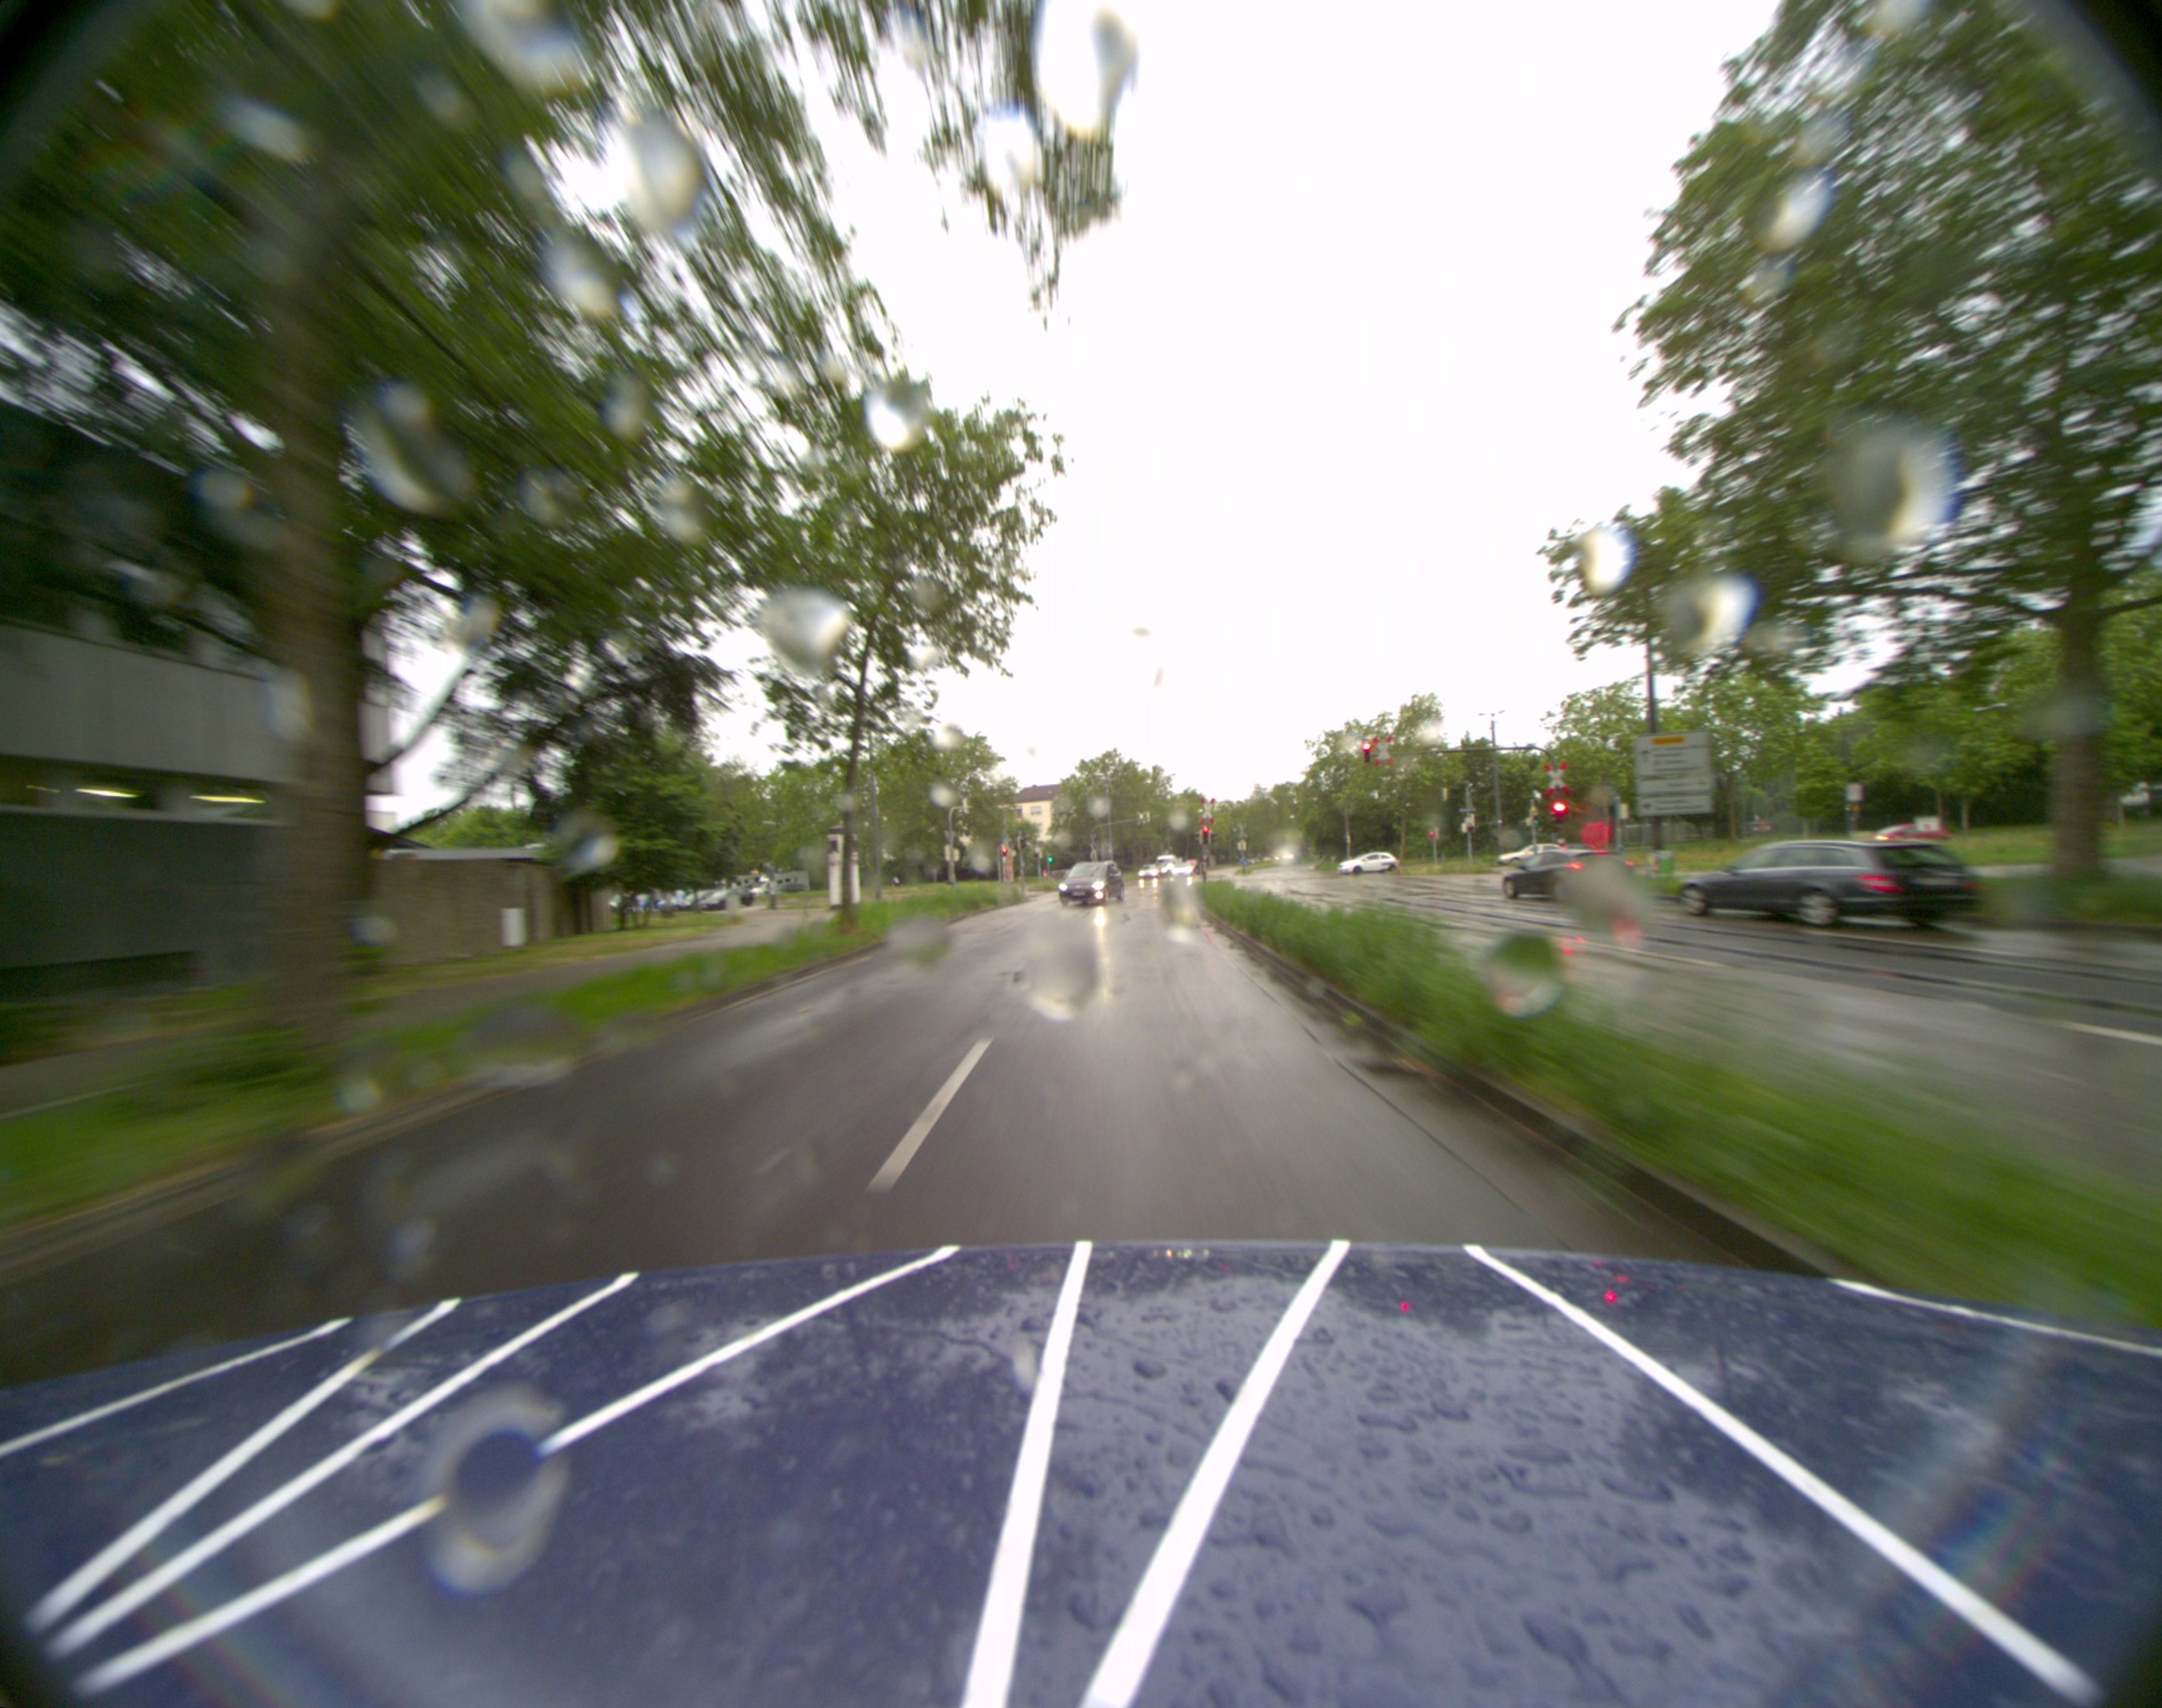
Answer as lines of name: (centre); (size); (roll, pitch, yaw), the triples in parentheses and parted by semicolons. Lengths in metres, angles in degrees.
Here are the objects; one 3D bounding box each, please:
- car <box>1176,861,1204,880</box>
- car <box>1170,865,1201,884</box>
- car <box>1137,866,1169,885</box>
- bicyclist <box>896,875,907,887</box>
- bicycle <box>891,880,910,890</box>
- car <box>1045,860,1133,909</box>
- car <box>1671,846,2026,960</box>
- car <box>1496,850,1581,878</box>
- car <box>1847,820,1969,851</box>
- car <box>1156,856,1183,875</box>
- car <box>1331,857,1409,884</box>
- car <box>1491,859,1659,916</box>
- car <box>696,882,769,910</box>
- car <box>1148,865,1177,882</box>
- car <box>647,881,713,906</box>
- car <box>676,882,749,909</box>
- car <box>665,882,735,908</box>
car: (11.890, 1.800, 82.606); (1.996, 1.876, 4.528); (-3, 0, 21)
car: (10.585, 2.036, 76.673); (1.996, 1.620, 4.528); (-3, 0, 21)
car: (7.381, 2.154, 77.283); (1.996, 1.620, 4.528); (-3, 0, 21)
bicyclist: (-17.579, 2.665, 74.463); (0.742, 1.138, 0.684); (-3, 0, 29)
bicycle: (-17.702, 3.028, 74.553); (1.860, 0.880, 0.684); (-3, 0, 29)
car: (0.450, 1.092, 29.223); (1.996, 1.585, 5.596); (-3, 0, 15)
car: (13.249, 0.752, 13.615); (1.998, 1.621, 4.332); (-3, 0, 2)
car: (30.416, 0.655, 50.671); (4.494, 1.620, 2.003); (-3, 0, 20)
car: (49.763, -1.090, 45.857); (4.512, 1.620, 2.003); (-3, 0, 20)
car: (10.719, 1.346, 91.687); (1.996, 2.095, 5.151); (-3, 0, 21)
car: (19.733, 1.126, 52.082); (4.519, 1.620, 2.000); (-3, 0, -3)
car: (13.718, 0.873, 21.473); (1.998, 1.365, 4.332); (-3, 0, 2)
car: (-24.751, 2.943, 53.990); (4.528, 1.620, 1.996); (-3, 0, -31)
car: (9.199, 2.178, 85.525); (1.996, 1.620, 4.528); (-3, 0, 21)
car: (-32.286, 3.153, 61.199); (4.528, 1.620, 1.996); (-3, 0, -31)
car: (-26.771, 3.007, 55.219); (4.528, 1.620, 1.996); (-3, 0, -31)
car: (-28.786, 3.060, 57.457); (4.528, 1.620, 1.996); (-3, 0, -31)
